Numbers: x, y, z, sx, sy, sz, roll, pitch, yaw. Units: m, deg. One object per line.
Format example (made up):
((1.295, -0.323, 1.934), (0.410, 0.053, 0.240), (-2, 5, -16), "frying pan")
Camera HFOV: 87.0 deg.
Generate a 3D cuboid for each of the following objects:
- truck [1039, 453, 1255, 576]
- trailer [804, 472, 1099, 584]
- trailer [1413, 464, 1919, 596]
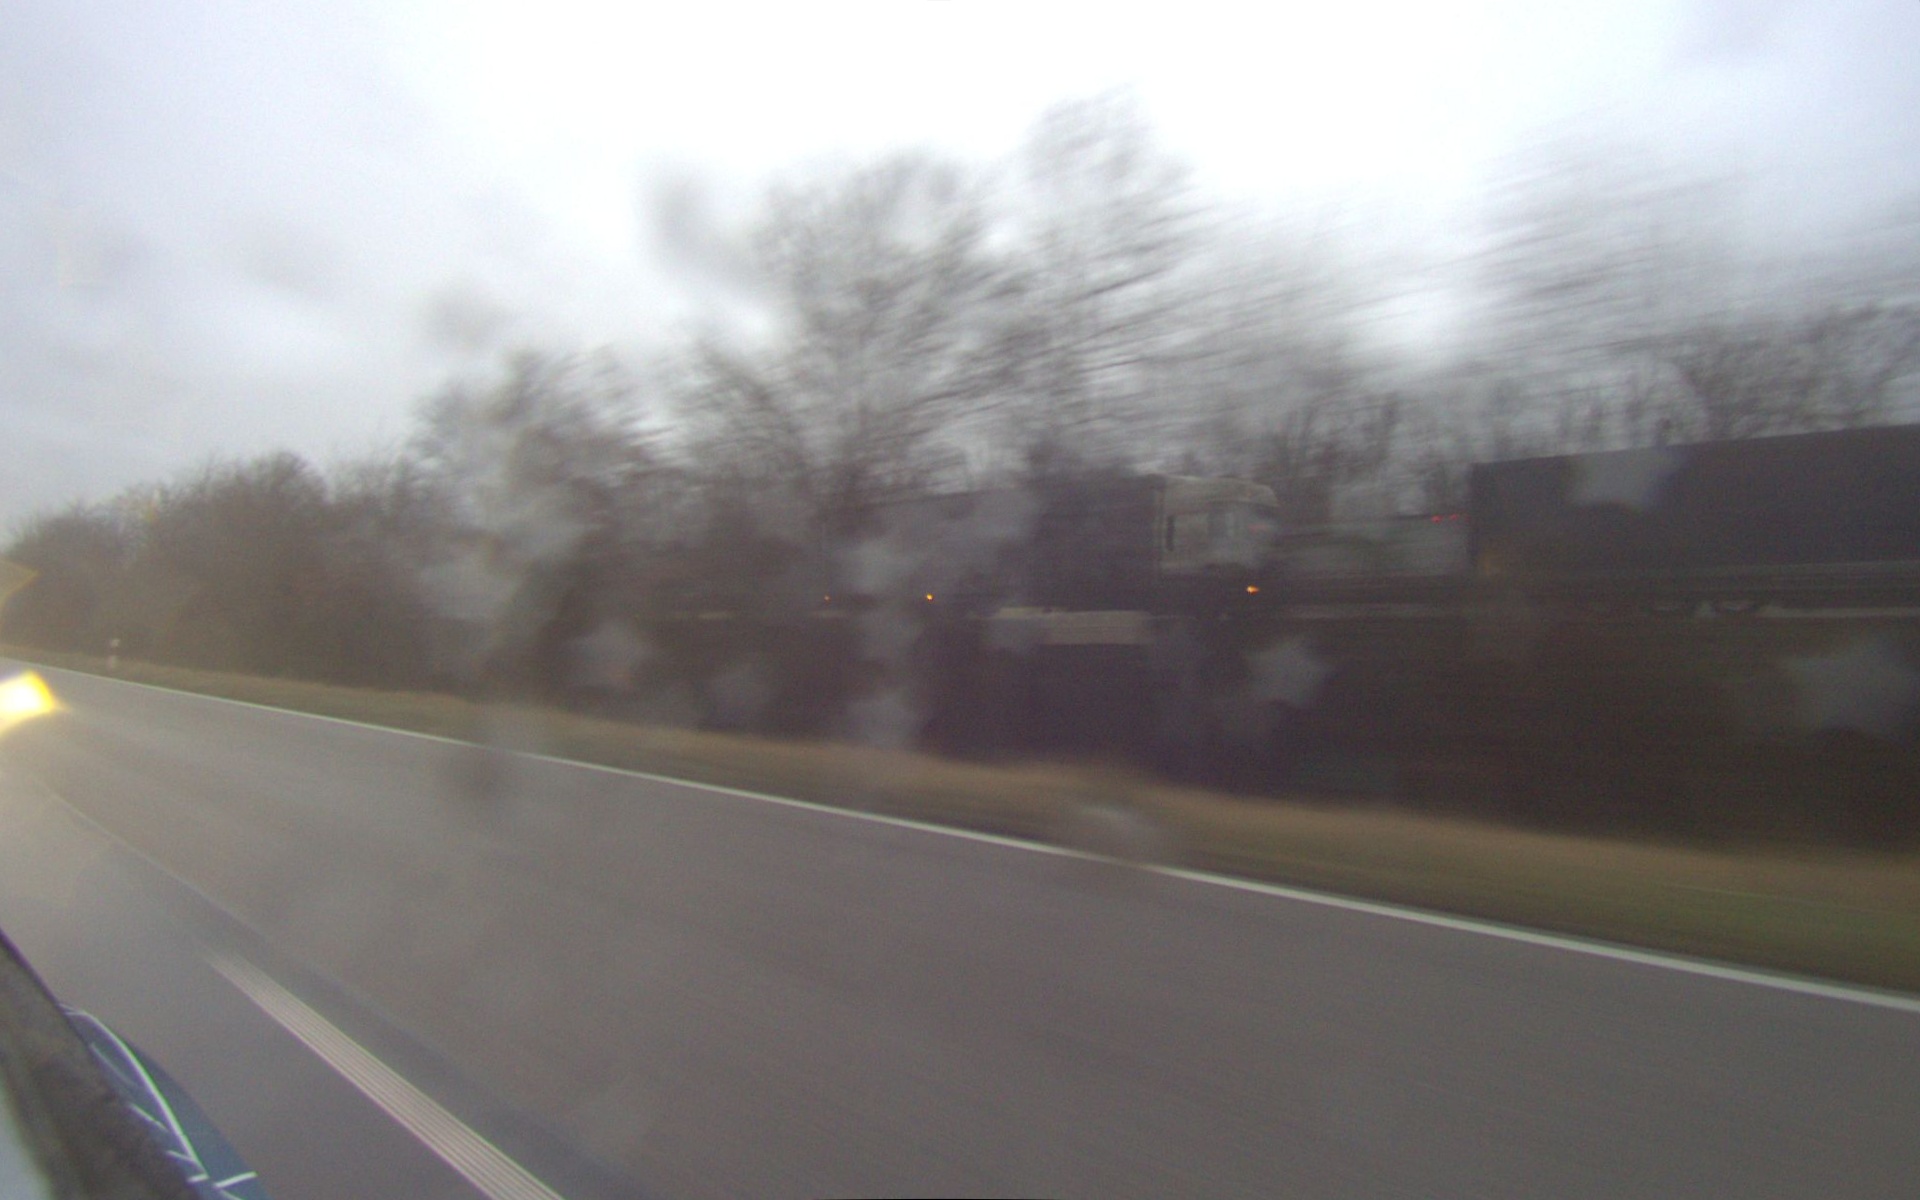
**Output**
((5.220, -2.262, 28.743), (5.580, 2.909, 2.424), (-1, -1, 41), "truck")
((-0.678, -2.155, 33.871), (11.079, 2.913, 2.410), (-1, -1, 41), "trailer")
((17.209, -1.448, 24.114), (11.496, 2.443, 2.482), (-1, -2, 41), "trailer")
